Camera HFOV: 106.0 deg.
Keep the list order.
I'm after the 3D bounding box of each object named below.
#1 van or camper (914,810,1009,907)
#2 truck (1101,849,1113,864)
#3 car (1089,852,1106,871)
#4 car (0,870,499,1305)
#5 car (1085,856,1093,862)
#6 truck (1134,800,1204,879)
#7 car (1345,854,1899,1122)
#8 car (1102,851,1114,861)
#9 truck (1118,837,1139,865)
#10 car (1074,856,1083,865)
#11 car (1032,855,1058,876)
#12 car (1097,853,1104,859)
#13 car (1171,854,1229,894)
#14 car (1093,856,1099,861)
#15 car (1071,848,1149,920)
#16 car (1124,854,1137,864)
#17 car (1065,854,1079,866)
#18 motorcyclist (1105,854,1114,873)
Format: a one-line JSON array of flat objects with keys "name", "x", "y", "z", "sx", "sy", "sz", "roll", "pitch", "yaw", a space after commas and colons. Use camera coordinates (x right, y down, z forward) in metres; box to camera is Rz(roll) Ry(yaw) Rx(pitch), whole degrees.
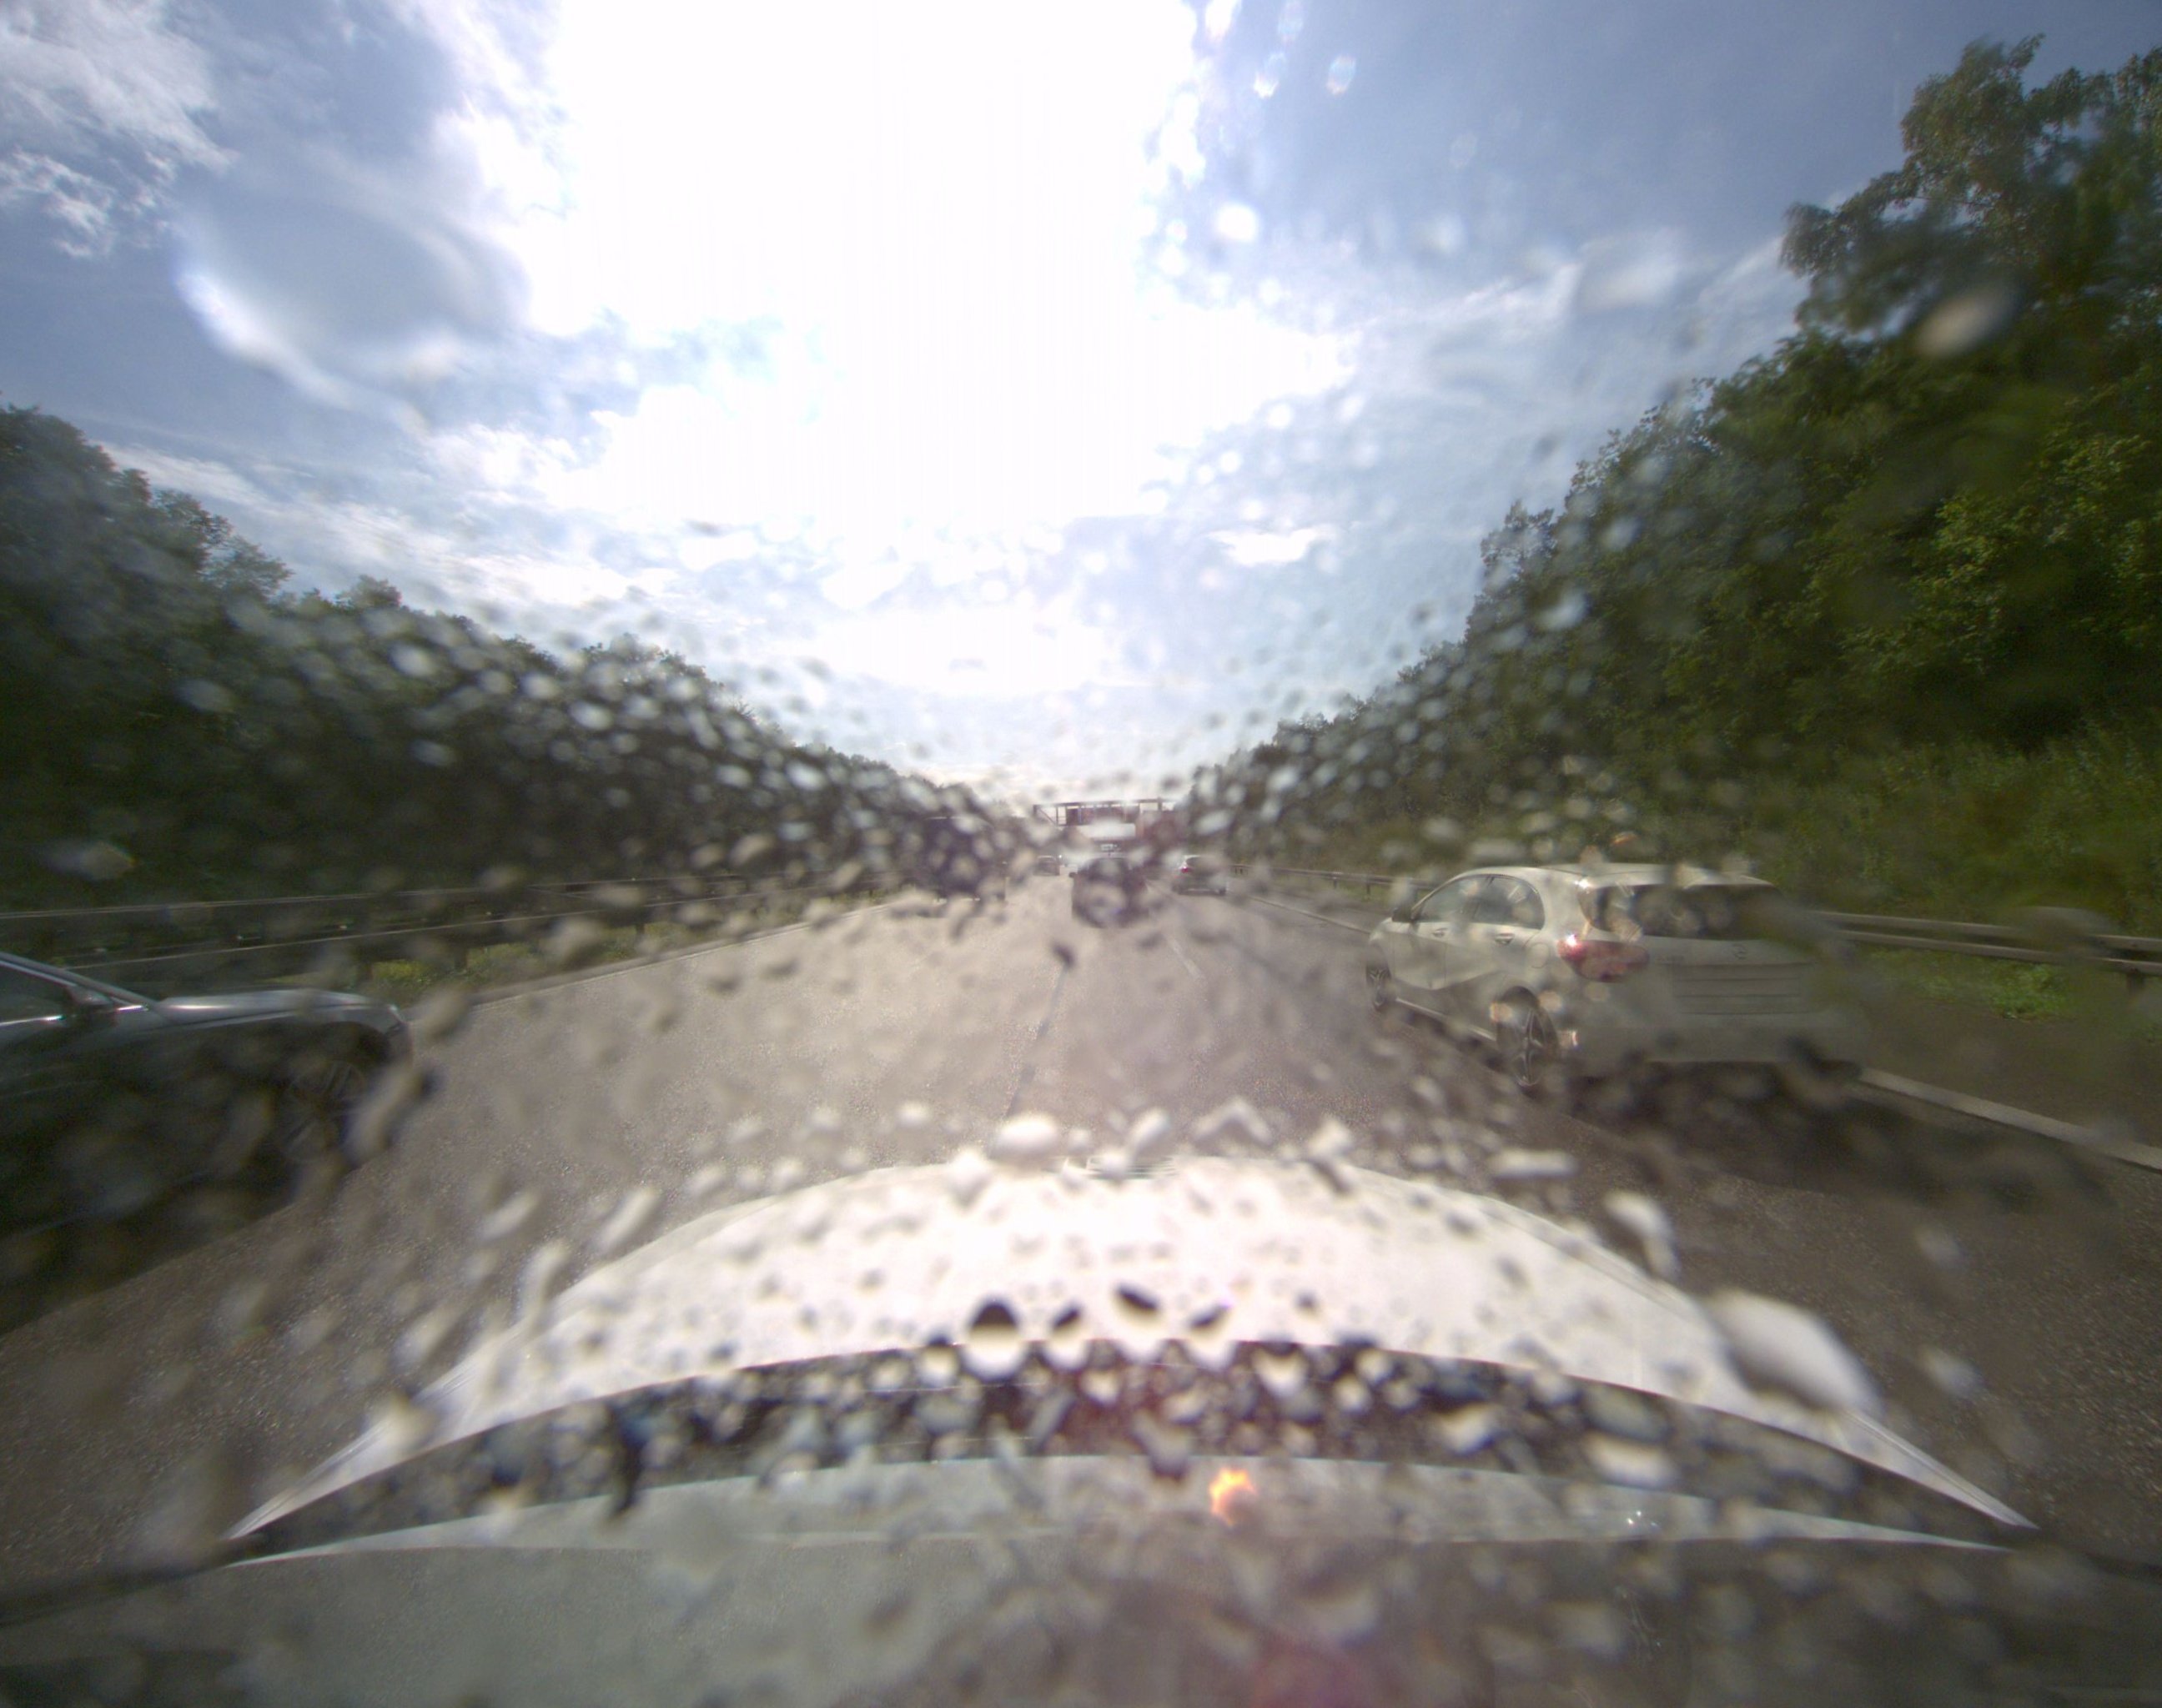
[{"name": "van or camper", "x": -3.549, "y": 0.136, "z": 25.247, "sx": 1.986, "sy": 2.669, "sz": 5.387, "roll": 0, "pitch": 0, "yaw": 2}, {"name": "truck", "x": 4.981, "y": 0.496, "z": 154.900, "sx": 2.185, "sy": 2.875, "sz": 4.849, "roll": 0, "pitch": 0, "yaw": 0}, {"name": "car", "x": 1.510, "y": 0.706, "z": 75.102, "sx": 1.526, "sy": 1.746, "sz": 3.484, "roll": 0, "pitch": 0, "yaw": 0}, {"name": "car", "x": -4.510, "y": 0.802, "z": 2.570, "sx": 1.788, "sy": 1.419, "sz": 4.840, "roll": 0, "pitch": 0, "yaw": 1}, {"name": "car", "x": 1.638, "y": 0.987, "z": 167.212, "sx": 1.544, "sy": 1.267, "sz": 3.484, "roll": 0, "pitch": 0, "yaw": 0}, {"name": "truck", "x": 5.806, "y": -0.818, "z": 57.194, "sx": 3.636, "sy": 4.720, "sz": 16.785, "roll": 0, "pitch": 0, "yaw": 2}, {"name": "car", "x": 3.569, "y": 0.726, "z": 6.460, "sx": 1.686, "sy": 1.425, "sz": 4.221, "roll": 0, "pitch": 0, "yaw": 2}, {"name": "car", "x": 3.691, "y": 0.292, "z": 112.967, "sx": 1.548, "sy": 1.383, "sz": 3.209, "roll": 0, "pitch": 0, "yaw": 0}, {"name": "truck", "x": 8.038, "y": -0.478, "z": 138.478, "sx": 3.244, "sy": 4.479, "sz": 12.426, "roll": 0, "pitch": 0, "yaw": 2}, {"name": "car", "x": -0.373, "y": 0.969, "z": 128.806, "sx": 1.455, "sy": 1.393, "sz": 3.311, "roll": 0, "pitch": 0, "yaw": 0}, {"name": "car", "x": -2.714, "y": 0.846, "z": 62.229, "sx": 1.848, "sy": 1.551, "sz": 3.484, "roll": 0, "pitch": 0, "yaw": 0}, {"name": "car", "x": 5.984, "y": 0.522, "z": 246.117, "sx": 1.986, "sy": 1.734, "sz": 4.002, "roll": -1, "pitch": 0, "yaw": 2}, {"name": "car", "x": 4.547, "y": 0.723, "z": 31.582, "sx": 1.675, "sy": 1.442, "sz": 3.904, "roll": 0, "pitch": 0, "yaw": 0}, {"name": "car", "x": 3.855, "y": 1.090, "z": 206.648, "sx": 1.544, "sy": 1.267, "sz": 3.484, "roll": 0, "pitch": 0, "yaw": 0}, {"name": "car", "x": 0.635, "y": 0.660, "z": 19.611, "sx": 1.712, "sy": 1.568, "sz": 3.484, "roll": 0, "pitch": 0, "yaw": 0}, {"name": "car", "x": 6.786, "y": 0.725, "z": 111.420, "sx": 1.548, "sy": 1.383, "sz": 3.209, "roll": 0, "pitch": 0, "yaw": 0}, {"name": "car", "x": -1.136, "y": 0.772, "z": 107.019, "sx": 1.745, "sy": 1.457, "sz": 3.389, "roll": 0, "pitch": 0, "yaw": 0}, {"name": "motorcyclist", "x": 2.422, "y": 0.816, "z": 69.271, "sx": 0.799, "sy": 1.633, "sz": 1.013, "roll": 0, "pitch": -1, "yaw": 0}]
